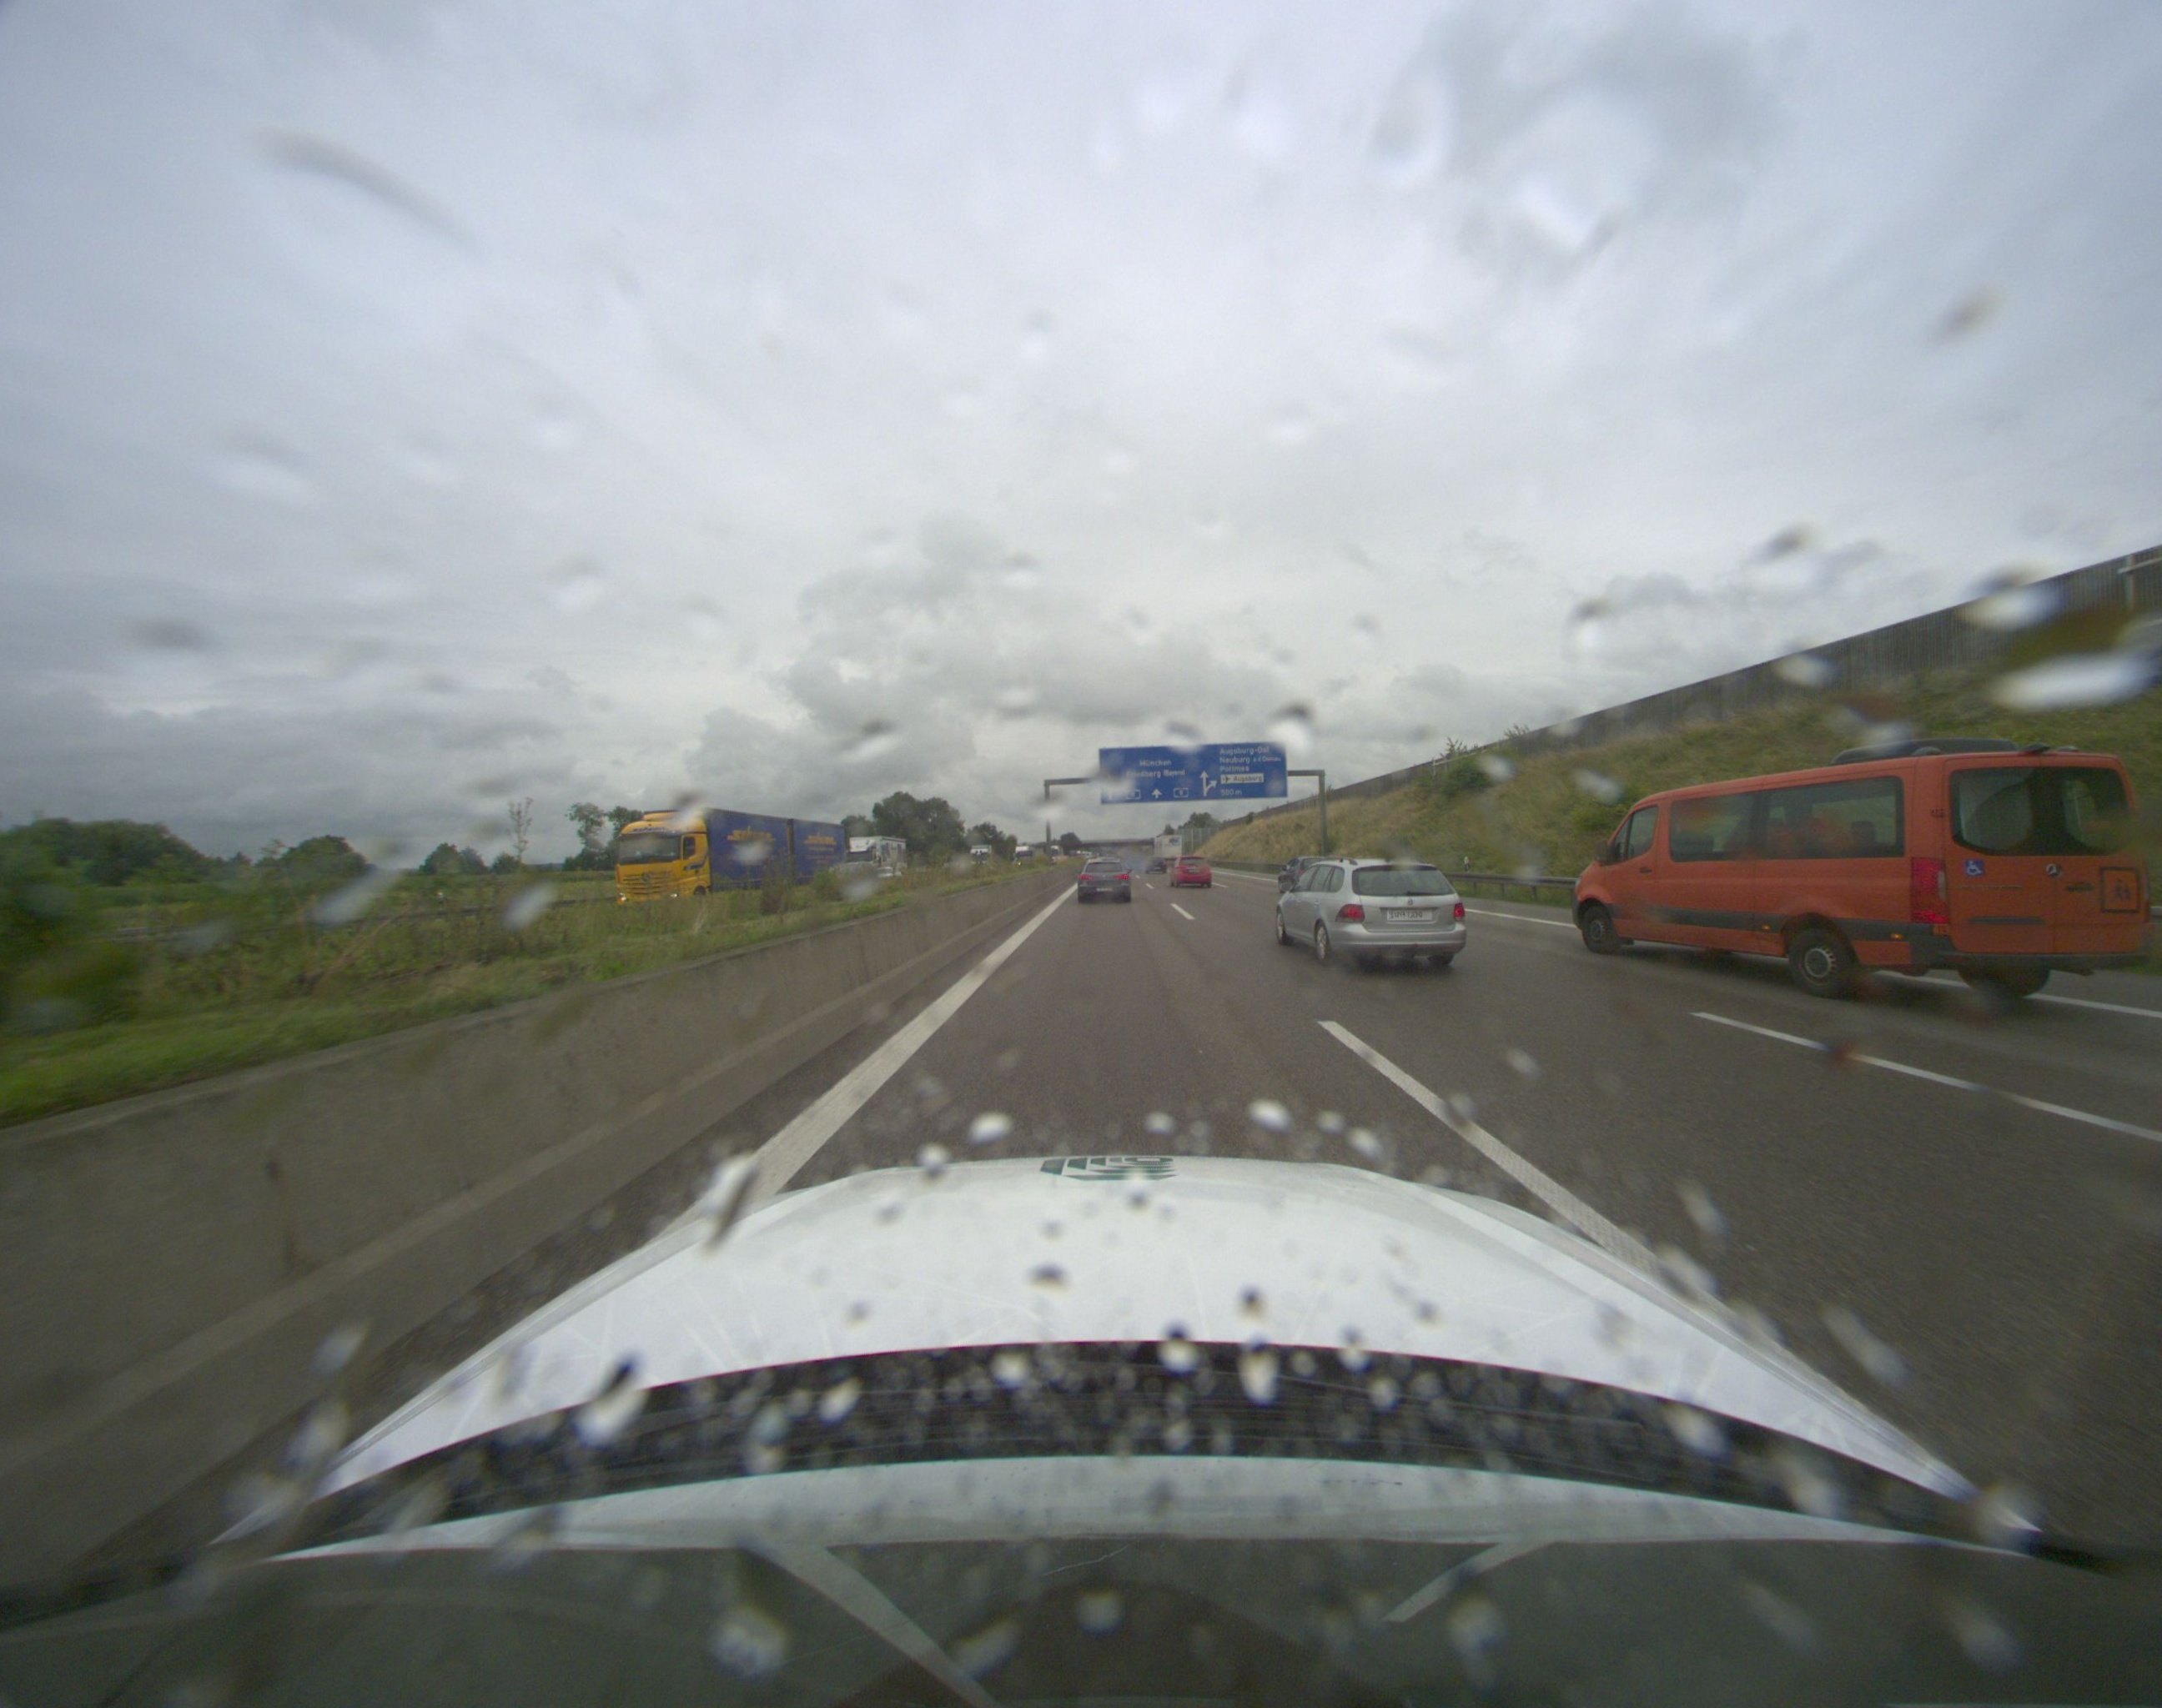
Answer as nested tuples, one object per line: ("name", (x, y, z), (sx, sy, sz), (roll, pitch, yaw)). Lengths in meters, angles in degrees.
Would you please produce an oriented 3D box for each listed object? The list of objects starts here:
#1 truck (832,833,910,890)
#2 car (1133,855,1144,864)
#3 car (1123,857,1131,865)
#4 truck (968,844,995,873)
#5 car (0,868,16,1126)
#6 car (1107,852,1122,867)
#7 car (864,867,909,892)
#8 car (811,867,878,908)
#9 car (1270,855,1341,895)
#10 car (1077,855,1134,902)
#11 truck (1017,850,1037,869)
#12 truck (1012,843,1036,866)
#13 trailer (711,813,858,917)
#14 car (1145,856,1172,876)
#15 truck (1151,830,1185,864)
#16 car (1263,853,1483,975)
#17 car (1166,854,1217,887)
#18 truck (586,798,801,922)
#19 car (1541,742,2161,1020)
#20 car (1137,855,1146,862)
("truck", (-17.839, 0.616, 70.227), (3.500, 4.484, 11.787), (0, -1, 1))
("car", (10.803, 1.003, 153.042), (1.839, 1.687, 4.001), (0, -1, 1))
("car", (11.838, 1.787, 211.309), (1.986, 2.014, 4.244), (0, -1, 2))
("truck", (-13.316, 0.556, 109.117), (2.630, 3.725, 5.875), (0, 1, 2))
("car", (-8.690, 0.997, 3.839), (1.986, 1.816, 4.001), (0, -1, 2))
("car", (4.208, 0.649, 102.519), (1.699, 1.796, 3.855), (-3, 0, 0))
("car", (-14.086, 1.815, 59.145), (1.876, 1.615, 5.016), (-2, 0, 1))
("car", (-11.435, 1.577, 39.637), (1.859, 1.784, 4.002), (-2, 0, 2))
("car", (8.293, 0.744, 30.437), (1.696, 1.401, 3.876), (0, -1, 2))
("car", (0.794, 0.785, 27.502), (1.762, 1.467, 4.000), (0, -1, 1))
("truck", (-8.321, 0.865, 125.822), (2.302, 2.908, 7.428), (0, -1, 2))
("truck", (-10.847, 0.074, 155.485), (3.601, 4.275, 7.595), (0, -1, 2))
("trailer", (-15.286, 0.511, 43.408), (3.375, 4.768, 11.683), (0, 0, 1))
("car", (6.519, 0.980, 68.859), (1.914, 1.522, 4.624), (-1, 0, 2))
("truck", (11.705, -0.756, 111.826), (3.271, 4.295, 19.040), (0, -1, 2))
("car", (4.055, 0.737, 12.172), (1.735, 1.425, 4.518), (-2, 0, 1))
("car", (5.266, 0.757, 39.241), (1.884, 1.446, 4.686), (-1, 0, 1))
("truck", (-15.550, 0.258, 34.192), (3.399, 4.364, 10.996), (0, -1, 2))
("car", (8.433, 0.225, 10.008), (2.079, 2.315, 6.181), (-1, 0, 1))
("car", (16.855, 1.324, 225.961), (1.987, 1.860, 4.389), (-2, 0, -1))
